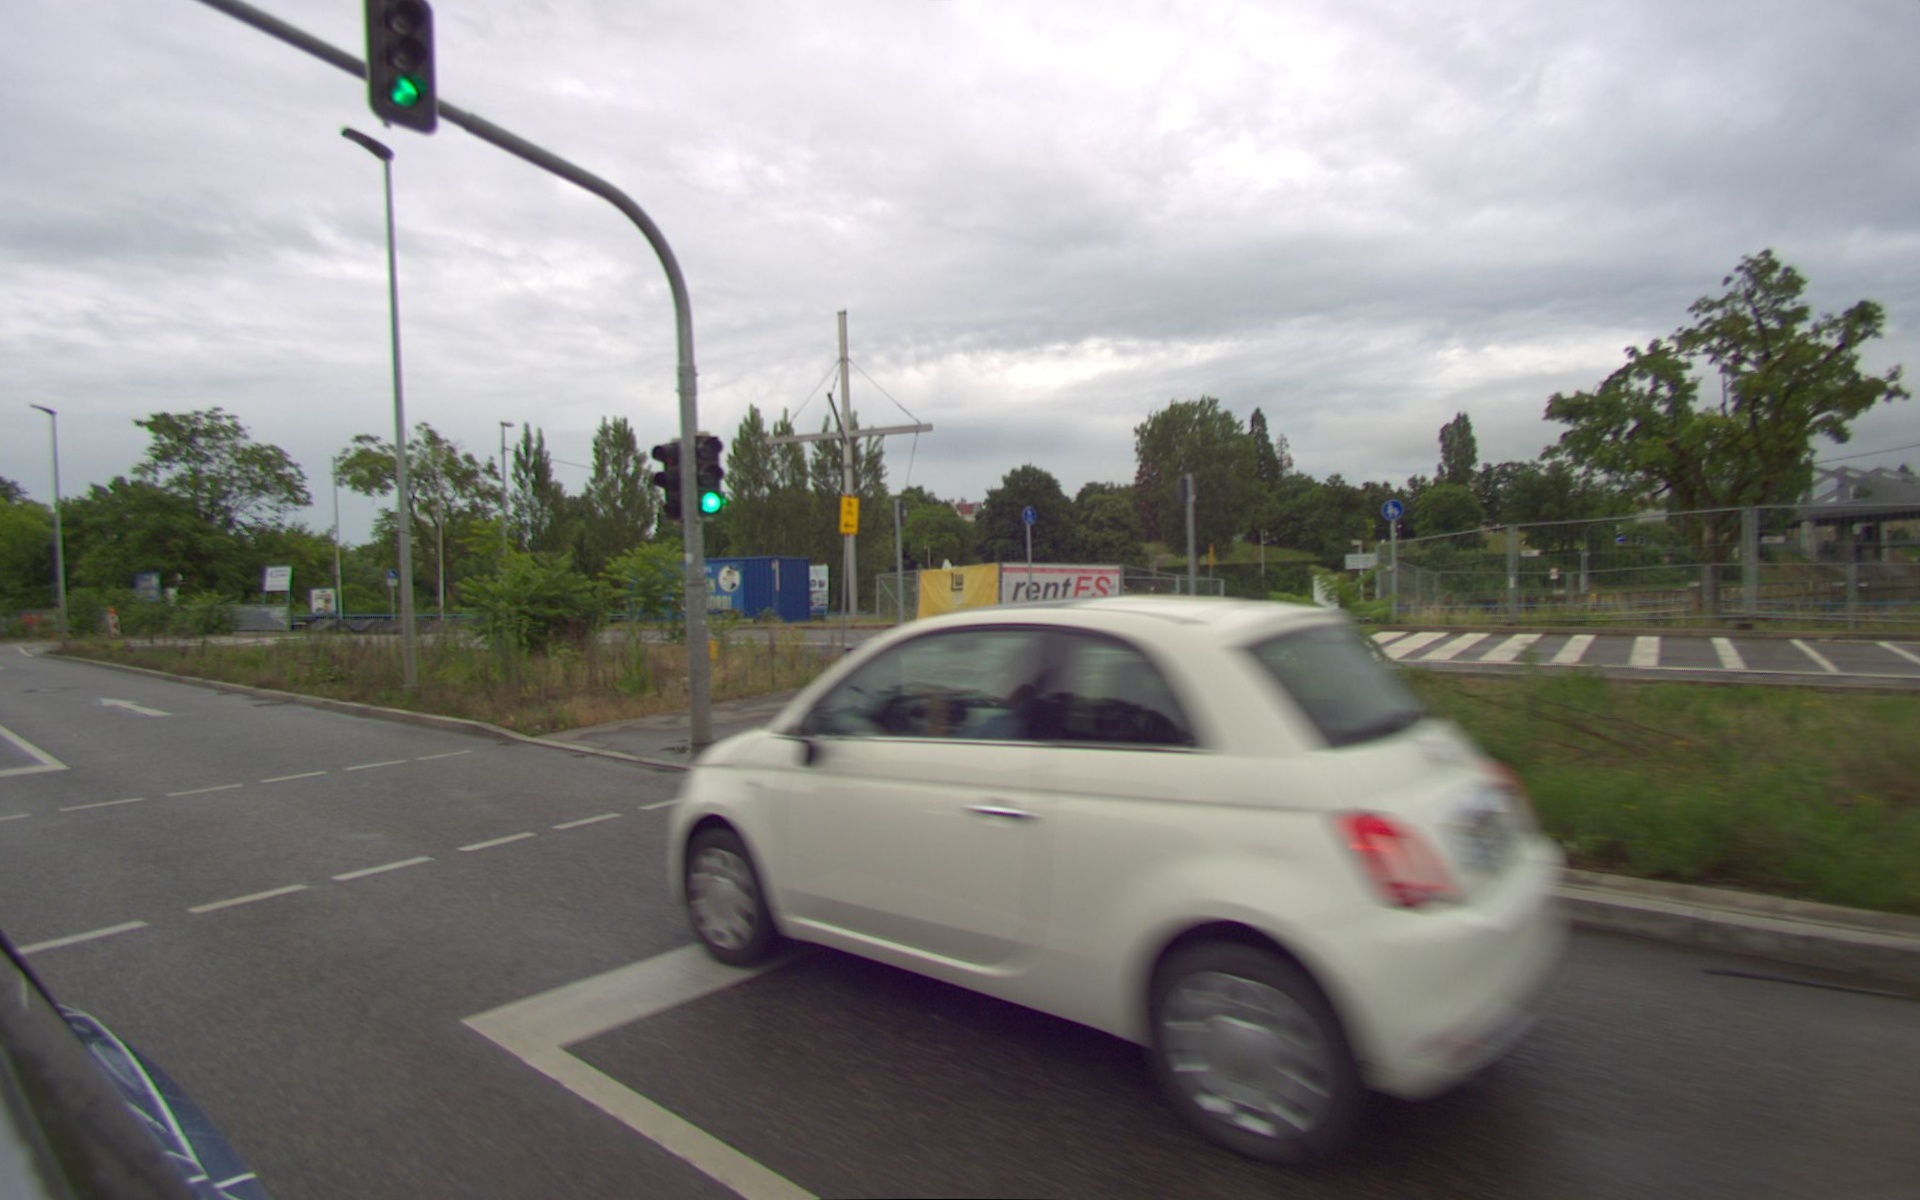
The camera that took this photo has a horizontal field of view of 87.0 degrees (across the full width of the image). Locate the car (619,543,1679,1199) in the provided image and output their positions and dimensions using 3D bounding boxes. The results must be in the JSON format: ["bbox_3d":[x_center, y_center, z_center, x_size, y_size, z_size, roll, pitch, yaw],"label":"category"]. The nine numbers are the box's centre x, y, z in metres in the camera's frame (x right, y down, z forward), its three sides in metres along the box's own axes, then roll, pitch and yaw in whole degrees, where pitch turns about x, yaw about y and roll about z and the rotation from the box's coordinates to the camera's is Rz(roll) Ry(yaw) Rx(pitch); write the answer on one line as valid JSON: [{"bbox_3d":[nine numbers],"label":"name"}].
[{"bbox_3d":[0.392,0.657,3.886,3.712,1.502,1.570,-1,0,41],"label":"car"}]
